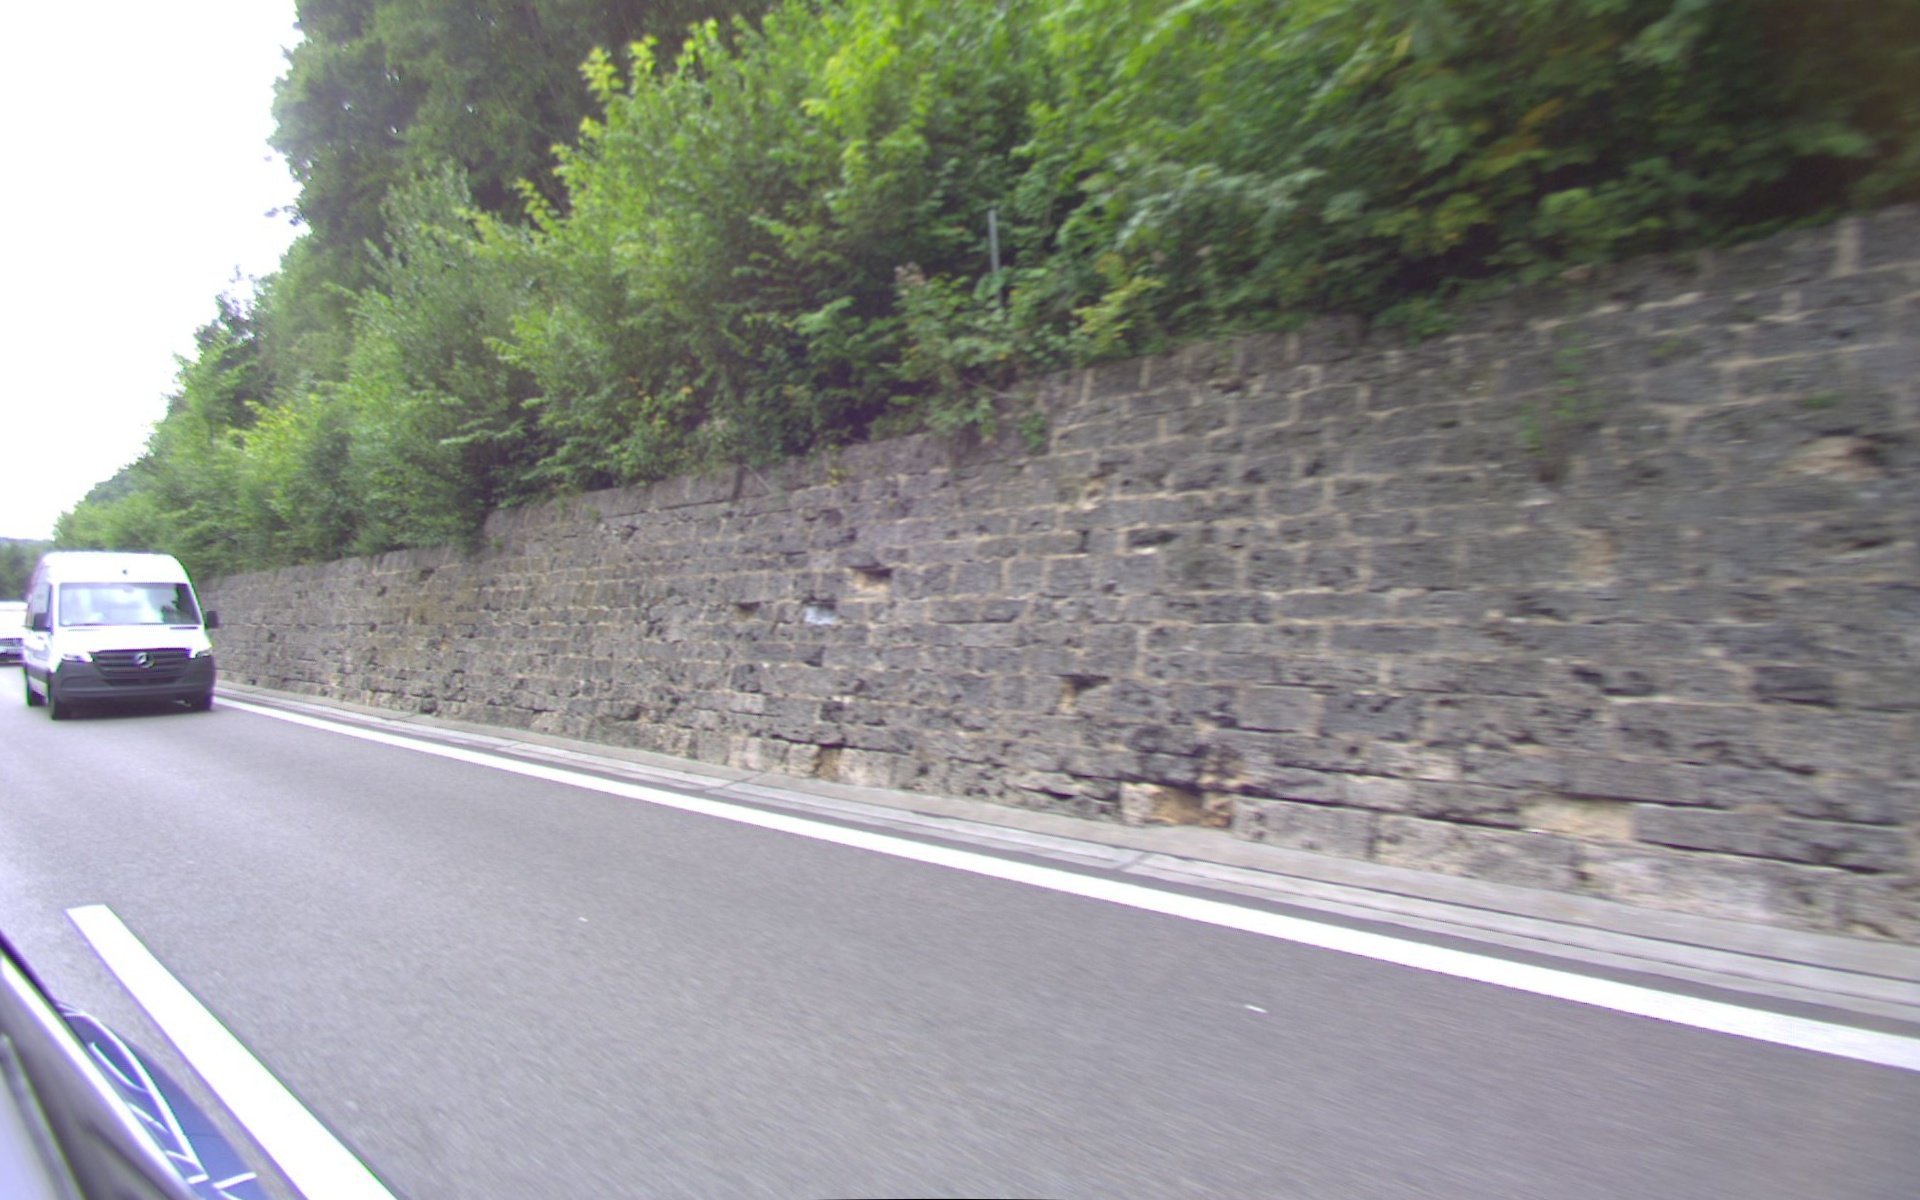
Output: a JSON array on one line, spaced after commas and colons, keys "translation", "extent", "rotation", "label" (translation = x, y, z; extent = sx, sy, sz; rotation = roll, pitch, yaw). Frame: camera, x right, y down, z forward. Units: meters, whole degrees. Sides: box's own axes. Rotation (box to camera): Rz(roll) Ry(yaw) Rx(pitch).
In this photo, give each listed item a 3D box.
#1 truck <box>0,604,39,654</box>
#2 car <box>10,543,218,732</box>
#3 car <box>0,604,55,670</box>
[{"translation": [-46.890, 1.428, 49.663], "extent": [1.968, 2.297, 6.598], "rotation": [-3, 1, -39], "label": "truck"}, {"translation": [-14.230, 0.532, 16.843], "extent": [6.276, 2.605, 2.003], "rotation": [-1, 0, 44], "label": "car"}, {"translation": [-31.527, 1.213, 33.545], "extent": [1.970, 1.967, 6.152], "rotation": [-3, 1, -44], "label": "car"}]
